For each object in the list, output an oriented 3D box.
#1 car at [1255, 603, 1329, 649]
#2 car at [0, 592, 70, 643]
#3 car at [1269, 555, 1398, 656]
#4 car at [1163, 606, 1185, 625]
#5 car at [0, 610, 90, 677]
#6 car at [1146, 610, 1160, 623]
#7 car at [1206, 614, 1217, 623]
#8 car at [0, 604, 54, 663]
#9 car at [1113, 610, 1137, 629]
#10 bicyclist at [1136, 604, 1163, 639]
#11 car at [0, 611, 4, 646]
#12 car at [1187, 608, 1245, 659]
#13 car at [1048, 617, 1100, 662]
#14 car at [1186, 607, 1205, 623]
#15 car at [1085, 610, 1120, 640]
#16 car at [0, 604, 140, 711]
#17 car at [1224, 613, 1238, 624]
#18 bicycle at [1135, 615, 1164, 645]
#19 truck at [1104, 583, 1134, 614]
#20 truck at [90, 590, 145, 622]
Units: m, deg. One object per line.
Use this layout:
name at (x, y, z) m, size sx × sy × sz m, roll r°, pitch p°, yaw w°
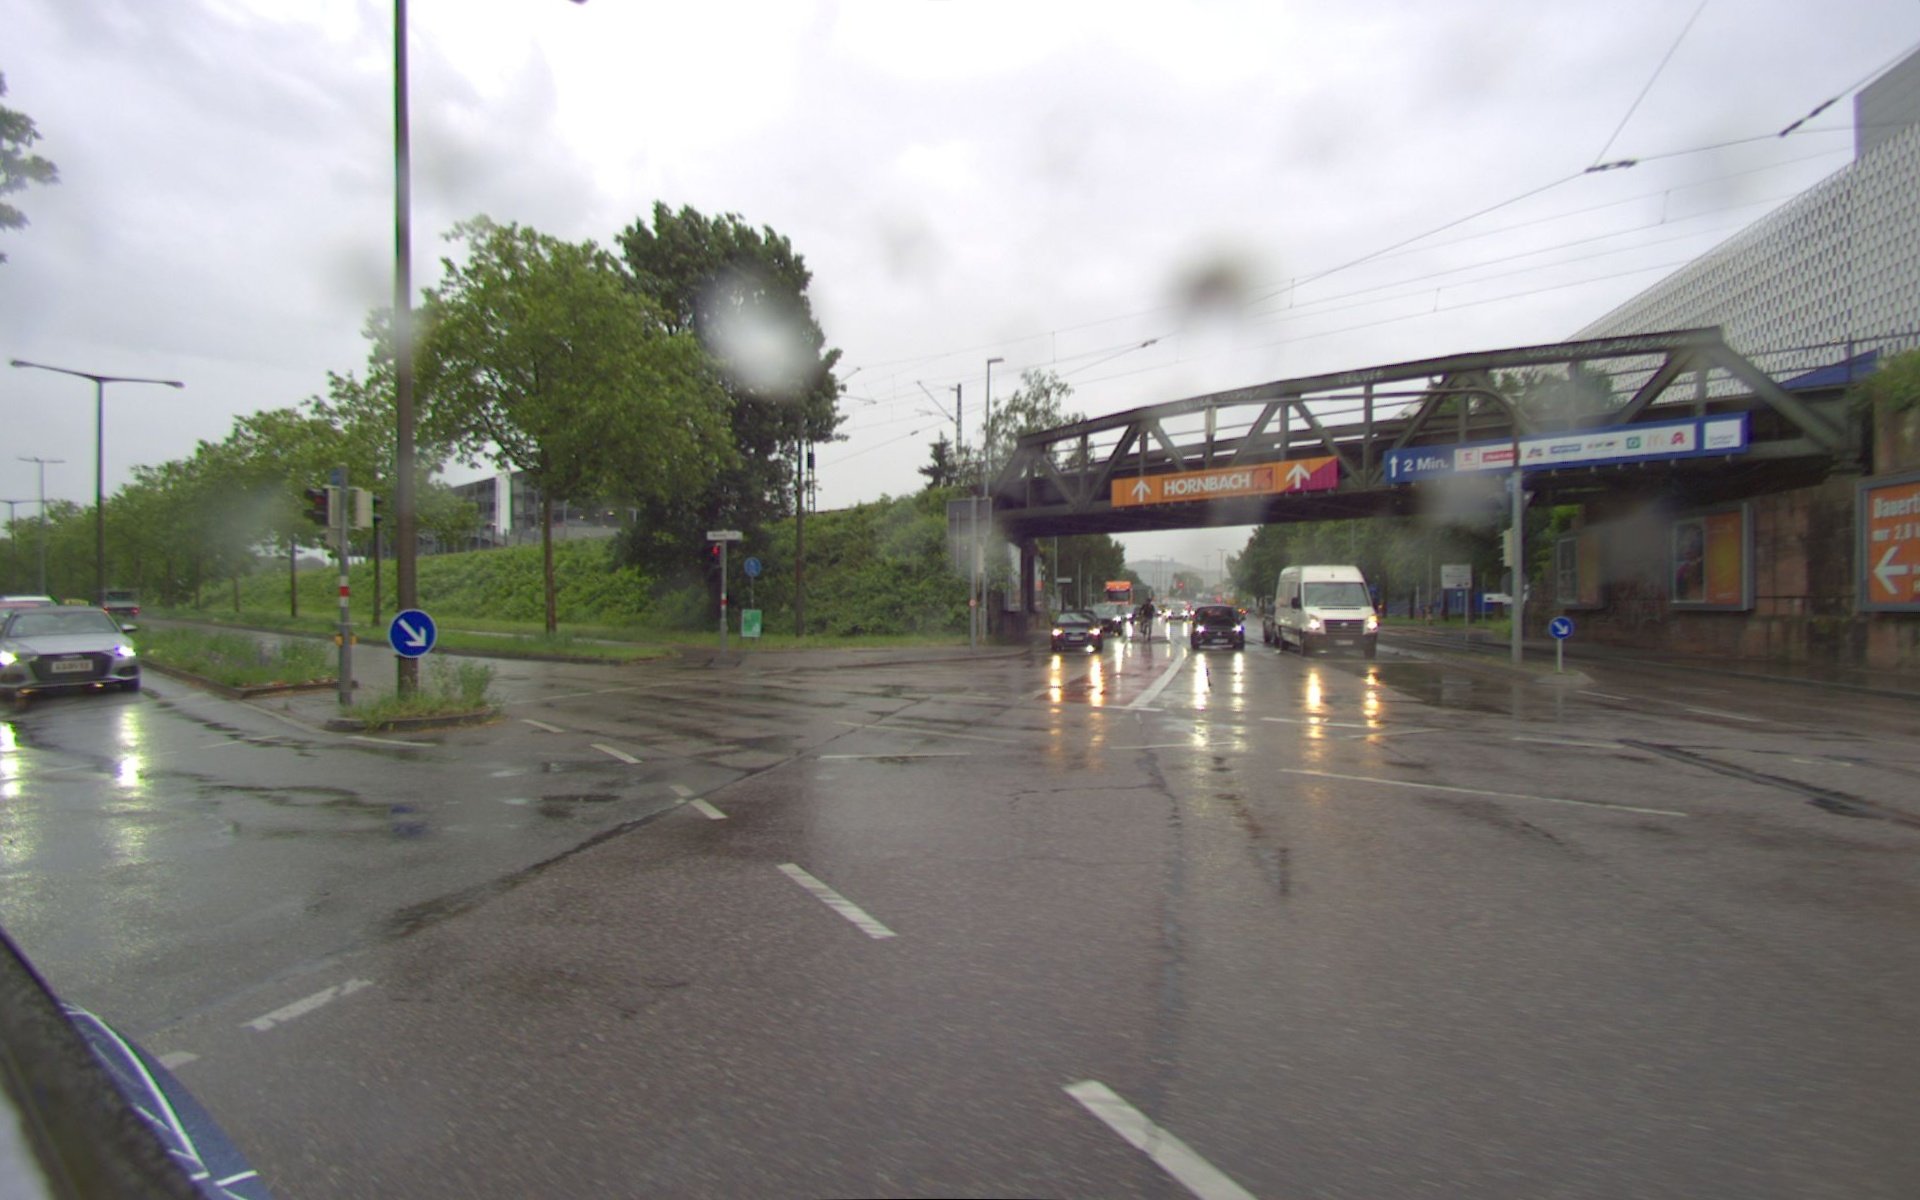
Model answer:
car at (12.516, 0.920, 38.393) m, size 1.861 × 1.612 × 4.939 m, roll 0°, pitch 0°, yaw 9°
car at (-32.504, 0.581, 35.337) m, size 4.149 × 1.624 × 1.806 m, roll 0°, pitch 2°, yaw 44°
car at (10.920, 0.156, 30.207) m, size 2.361 × 2.631 × 6.957 m, roll 0°, pitch 0°, yaw 10°
car at (18.128, 1.285, 85.792) m, size 1.636 × 1.612 × 3.898 m, roll 0°, pitch 0°, yaw 10°
car at (-22.062, 0.982, 24.056) m, size 4.012 × 1.387 × 1.660 m, roll 0°, pitch 2°, yaw 44°
car at (25.885, 2.203, 135.754) m, size 1.636 × 1.612 × 3.898 m, roll 0°, pitch 0°, yaw 10°
car at (43.852, 3.214, 176.601) m, size 1.636 × 1.612 × 3.898 m, roll 0°, pitch 0°, yaw 10°
car at (-25.738, 0.877, 27.286) m, size 1.700 × 1.476 × 4.095 m, roll -3°, pitch 2°, yaw -45°
car at (12.780, 1.512, 78.541) m, size 1.673 × 1.445 × 4.138 m, roll -1°, pitch -1°, yaw 7°
bicyclist at (8.169, 0.910, 43.738) m, size 1.140 × 1.495 × 1.054 m, roll 0°, pitch -1°, yaw 10°
car at (-44.088, 1.296, 45.227) m, size 4.000 × 1.514 × 1.692 m, roll 0°, pitch 1°, yaw 43°
car at (8.769, 1.109, 34.884) m, size 1.636 × 1.612 × 3.898 m, roll 0°, pitch 0°, yaw 10°
car at (4.033, 1.338, 35.673) m, size 1.673 × 1.445 × 4.138 m, roll -1°, pitch -1°, yaw 7°
car at (23.990, 1.545, 103.306) m, size 1.636 × 1.612 × 3.898 m, roll 0°, pitch 0°, yaw 10°
car at (7.366, 1.275, 52.629) m, size 1.673 × 1.445 × 4.138 m, roll -1°, pitch -1°, yaw 7°
car at (-15.904, 0.895, 17.779) m, size 4.823 × 1.586 × 1.749 m, roll 0°, pitch 2°, yaw 44°
car at (41.993, 2.883, 156.810) m, size 1.636 × 1.612 × 3.898 m, roll 0°, pitch 0°, yaw 10°
bicycle at (8.167, 1.281, 43.735) m, size 1.187 × 1.213 × 3.439 m, roll 0°, pitch -1°, yaw 10°
truck at (15.490, -0.119, 99.223) m, size 2.523 × 2.847 × 8.167 m, roll -2°, pitch 0°, yaw 7°
truck at (-65.894, 0.461, 79.080) m, size 6.867 × 2.383 × 2.447 m, roll 0°, pitch 0°, yaw 43°
